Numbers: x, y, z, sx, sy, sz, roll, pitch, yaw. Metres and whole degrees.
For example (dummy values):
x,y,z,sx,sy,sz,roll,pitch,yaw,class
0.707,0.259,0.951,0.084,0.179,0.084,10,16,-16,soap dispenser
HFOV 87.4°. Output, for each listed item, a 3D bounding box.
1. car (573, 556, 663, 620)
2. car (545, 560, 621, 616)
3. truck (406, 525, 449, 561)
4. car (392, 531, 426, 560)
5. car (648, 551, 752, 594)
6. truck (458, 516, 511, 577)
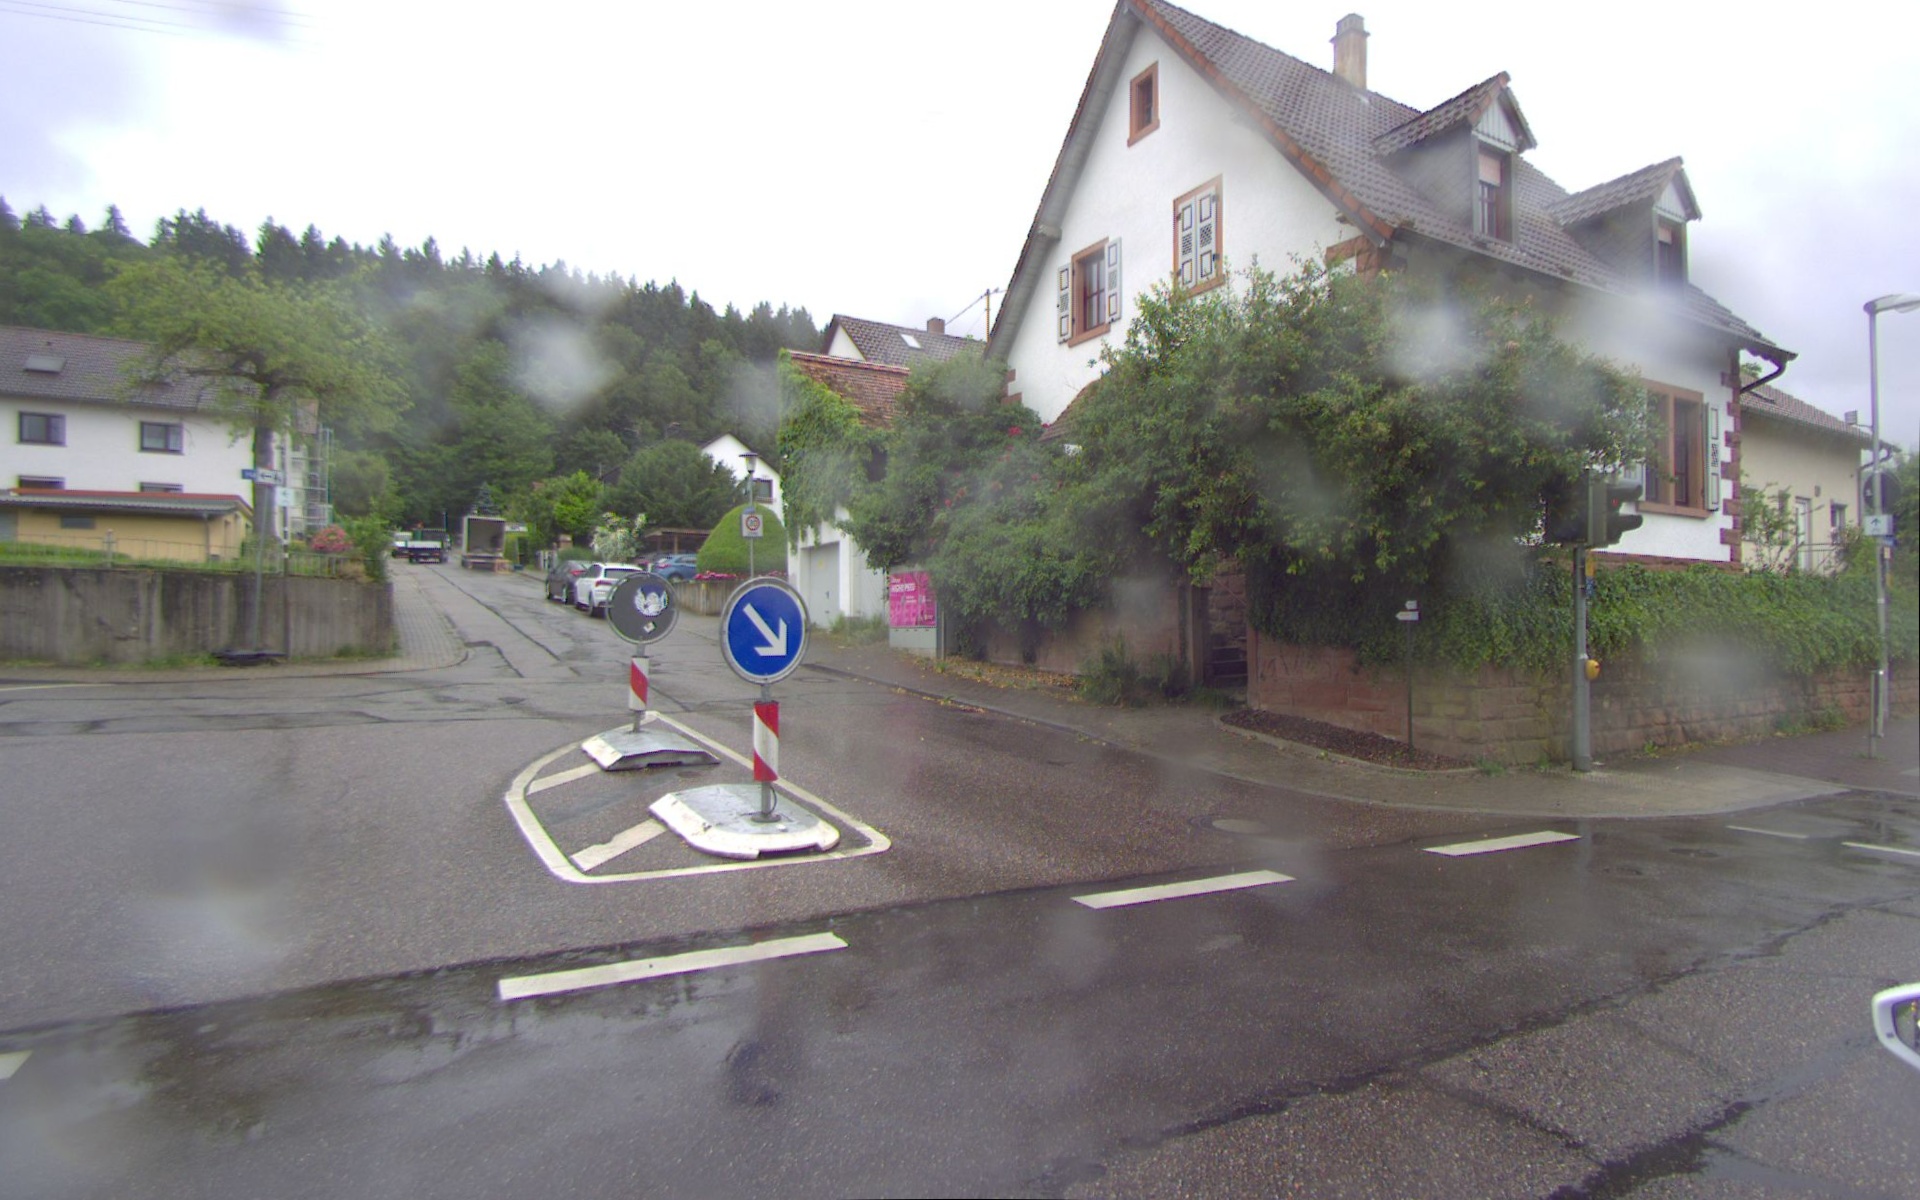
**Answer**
x,y,z,sx,sy,sz,roll,pitch,yaw,class
-10.385,-0.403,30.289,1.878,1.535,3.860,2,5,-29,car
-13.080,-0.456,34.698,1.878,1.535,3.860,2,5,-29,car
-35.701,-3.748,67.500,2.270,2.155,6.039,2,1,-26,truck
-42.136,-4.121,76.804,1.896,2.040,3.963,2,1,-33,car
-11.007,-1.160,42.499,3.846,1.535,1.884,2,5,-31,car
-28.830,-3.153,60.764,2.424,3.397,6.606,2,1,-29,truck
